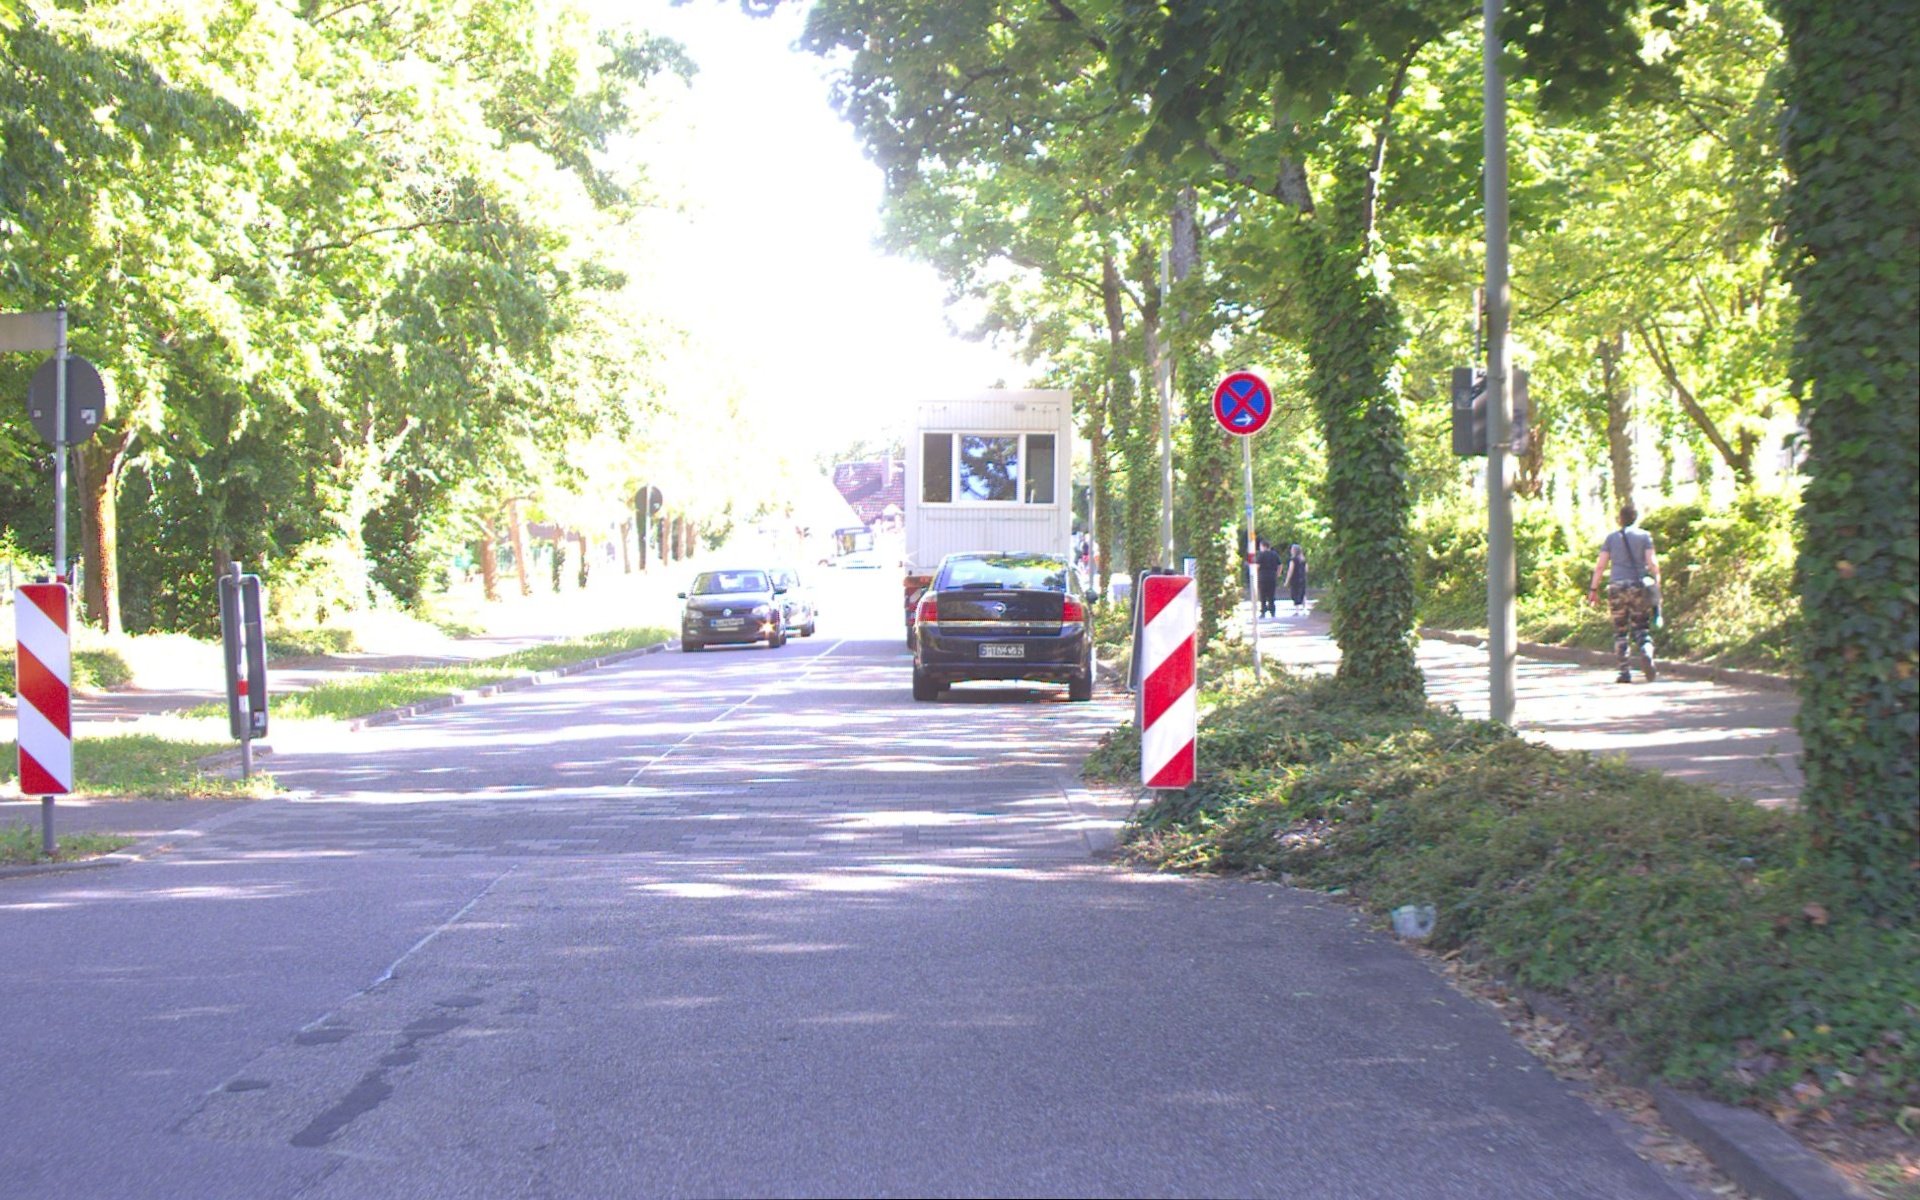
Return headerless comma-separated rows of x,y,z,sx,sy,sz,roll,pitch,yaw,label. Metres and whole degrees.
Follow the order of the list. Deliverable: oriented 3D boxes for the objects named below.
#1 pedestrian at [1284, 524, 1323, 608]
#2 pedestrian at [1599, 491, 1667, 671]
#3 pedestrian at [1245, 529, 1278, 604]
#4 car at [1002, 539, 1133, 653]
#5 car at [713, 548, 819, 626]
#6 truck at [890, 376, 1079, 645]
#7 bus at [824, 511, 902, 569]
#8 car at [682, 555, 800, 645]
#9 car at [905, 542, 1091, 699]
7.510,-0.741,75.219,0.698,1.806,0.700,-2,1,-3,pedestrian
6.075,-0.177,31.049,0.571,1.602,0.671,0,1,9,pedestrian
6.628,-0.739,75.566,0.598,1.605,0.600,-2,1,-3,pedestrian
1.468,-0.084,46.599,1.640,1.415,4.000,-2,1,2,car
-3.883,-0.279,69.566,1.755,1.449,4.243,-2,1,1,car
0.320,-1.424,56.536,2.773,3.982,10.349,1,1,-1,truck
-5.899,-3.686,211.609,4.065,3.337,9.800,-2,1,2,bus
-3.746,-0.020,59.224,1.601,1.421,3.652,-2,1,2,car
0.421,0.186,34.424,1.748,1.475,4.030,0,0,2,car
